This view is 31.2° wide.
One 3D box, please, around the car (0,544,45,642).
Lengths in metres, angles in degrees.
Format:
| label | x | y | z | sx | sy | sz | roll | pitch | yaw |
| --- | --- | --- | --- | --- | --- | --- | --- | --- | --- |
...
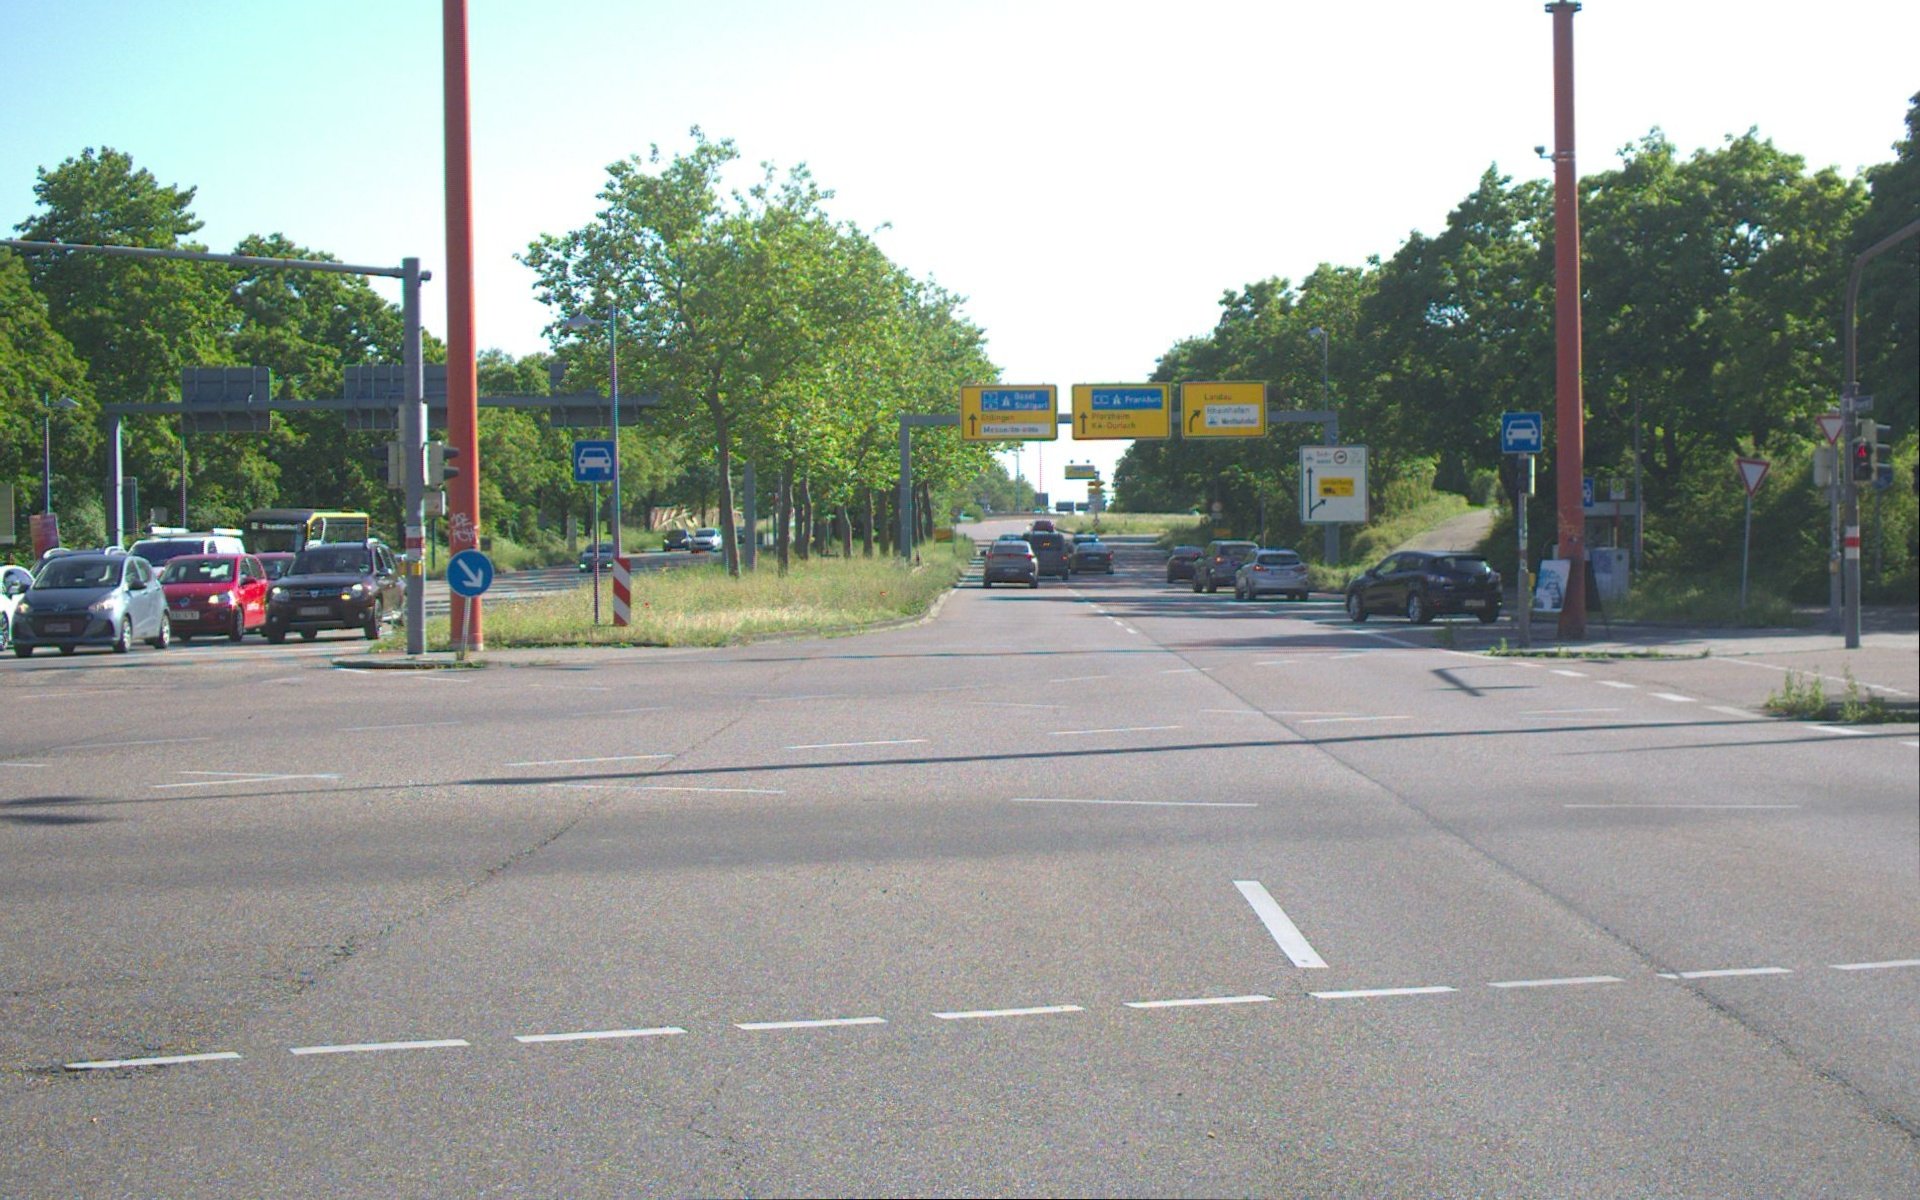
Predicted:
| label | x | y | z | sx | sy | sz | roll | pitch | yaw |
| --- | --- | --- | --- | --- | --- | --- | --- | --- | --- |
| car | -16.484 | -0.118 | 57.045 | 1.993 | 1.568 | 4.122 | -2 | 1 | -8 |

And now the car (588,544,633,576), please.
| label | x | y | z | sx | sy | sz | roll | pitch | yaw |
| --- | --- | --- | --- | --- | --- | --- | --- | --- | --- |
| car | -17.572 | -2.012 | 172.843 | 1.993 | 1.568 | 4.121 | -1 | 1 | -3 |

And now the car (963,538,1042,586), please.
| label | x | y | z | sx | sy | sz | roll | pitch | yaw |
| --- | --- | --- | --- | --- | --- | --- | --- | --- | --- |
| car | 1.416 | -1.286 | 116.515 | 2.245 | 1.568 | 4.282 | -1 | 1 | -5 |

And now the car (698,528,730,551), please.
| label | x | y | z | sx | sy | sz | roll | pitch | yaw |
| --- | --- | --- | --- | --- | --- | --- | --- | --- | --- |
| car | -16.130 | -3.966 | 225.626 | 1.884 | 1.449 | 3.656 | -1 | 1 | 0 |

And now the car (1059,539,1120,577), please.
| label | x | y | z | sx | sy | sz | roll | pitch | yaw |
| --- | --- | --- | --- | --- | --- | --- | --- | --- | --- |
| car | 5.616 | -1.830 | 149.233 | 2.158 | 1.568 | 4.281 | -1 | 1 | -4 |

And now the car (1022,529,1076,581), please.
| label | x | y | z | sx | sy | sz | roll | pitch | yaw |
| --- | --- | --- | --- | --- | --- | --- | --- | --- | --- |
| car | 3.492 | -1.784 | 135.514 | 1.993 | 2.007 | 4.000 | -1 | 1 | -1 |

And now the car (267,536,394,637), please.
| label | x | y | z | sx | sy | sz | roll | pitch | yaw |
| --- | --- | --- | --- | --- | --- | --- | --- | --- | --- |
| car | -10.242 | -0.245 | 56.156 | 1.876 | 1.568 | 4.122 | -1 | 1 | -8 |

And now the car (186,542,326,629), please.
| label | x | y | z | sx | sy | sz | roll | pitch | yaw |
| --- | --- | --- | --- | --- | --- | --- | --- | --- | --- |
| car | -13.111 | -0.296 | 64.256 | 1.993 | 1.568 | 4.121 | -1 | 1 | -4 |

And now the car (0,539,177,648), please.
| label | x | y | z | sx | sy | sz | roll | pitch | yaw |
| --- | --- | --- | --- | --- | --- | --- | --- | --- | --- |
| car | -13.248 | -0.132 | 52.175 | 1.993 | 1.568 | 4.121 | -1 | 1 | -3 |

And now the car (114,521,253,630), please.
| label | x | y | z | sx | sy | sz | roll | pitch | yaw |
| --- | --- | --- | --- | --- | --- | --- | --- | --- | --- |
| car | -16.109 | -0.529 | 71.517 | 2.062 | 2.185 | 4.379 | -1 | 1 | -2 |

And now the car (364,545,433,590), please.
| label | x | y | z | sx | sy | sz | roll | pitch | yaw |
| --- | --- | --- | --- | --- | --- | --- | --- | --- | --- |
| car | -20.149 | -1.187 | 123.516 | 1.993 | 1.568 | 4.121 | -1 | 1 | -3 |

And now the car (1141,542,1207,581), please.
| label | x | y | z | sx | sy | sz | roll | pitch | yaw |
| --- | --- | --- | --- | --- | --- | --- | --- | --- | --- |
| car | 8.091 | -1.473 | 130.295 | 1.953 | 1.437 | 4.281 | -1 | 1 | -4 |

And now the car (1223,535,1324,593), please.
| label | x | y | z | sx | sy | sz | roll | pitch | yaw |
| --- | --- | --- | --- | --- | --- | --- | --- | --- | --- |
| car | 8.870 | -1.032 | 97.635 | 2.158 | 1.568 | 4.281 | -1 | 1 | -4 |

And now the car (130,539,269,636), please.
| label | x | y | z | sx | sy | sz | roll | pitch | yaw |
| --- | --- | --- | --- | --- | --- | --- | --- | --- | --- |
| car | -12.894 | -0.236 | 58.477 | 1.993 | 1.568 | 4.122 | -1 | 1 | -8 |

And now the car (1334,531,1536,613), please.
| label | x | y | z | sx | sy | sz | roll | pitch | yaw |
| --- | --- | --- | --- | --- | --- | --- | --- | --- | --- |
| car | 9.453 | -0.578 | 68.736 | 2.158 | 1.568 | 4.282 | -1 | 1 | -22 |

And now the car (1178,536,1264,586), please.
| label | x | y | z | sx | sy | sz | roll | pitch | yaw |
| --- | --- | --- | --- | --- | --- | --- | --- | --- | --- |
| car | 8.408 | -1.258 | 111.191 | 2.158 | 1.568 | 4.281 | -1 | 1 | -4 |
